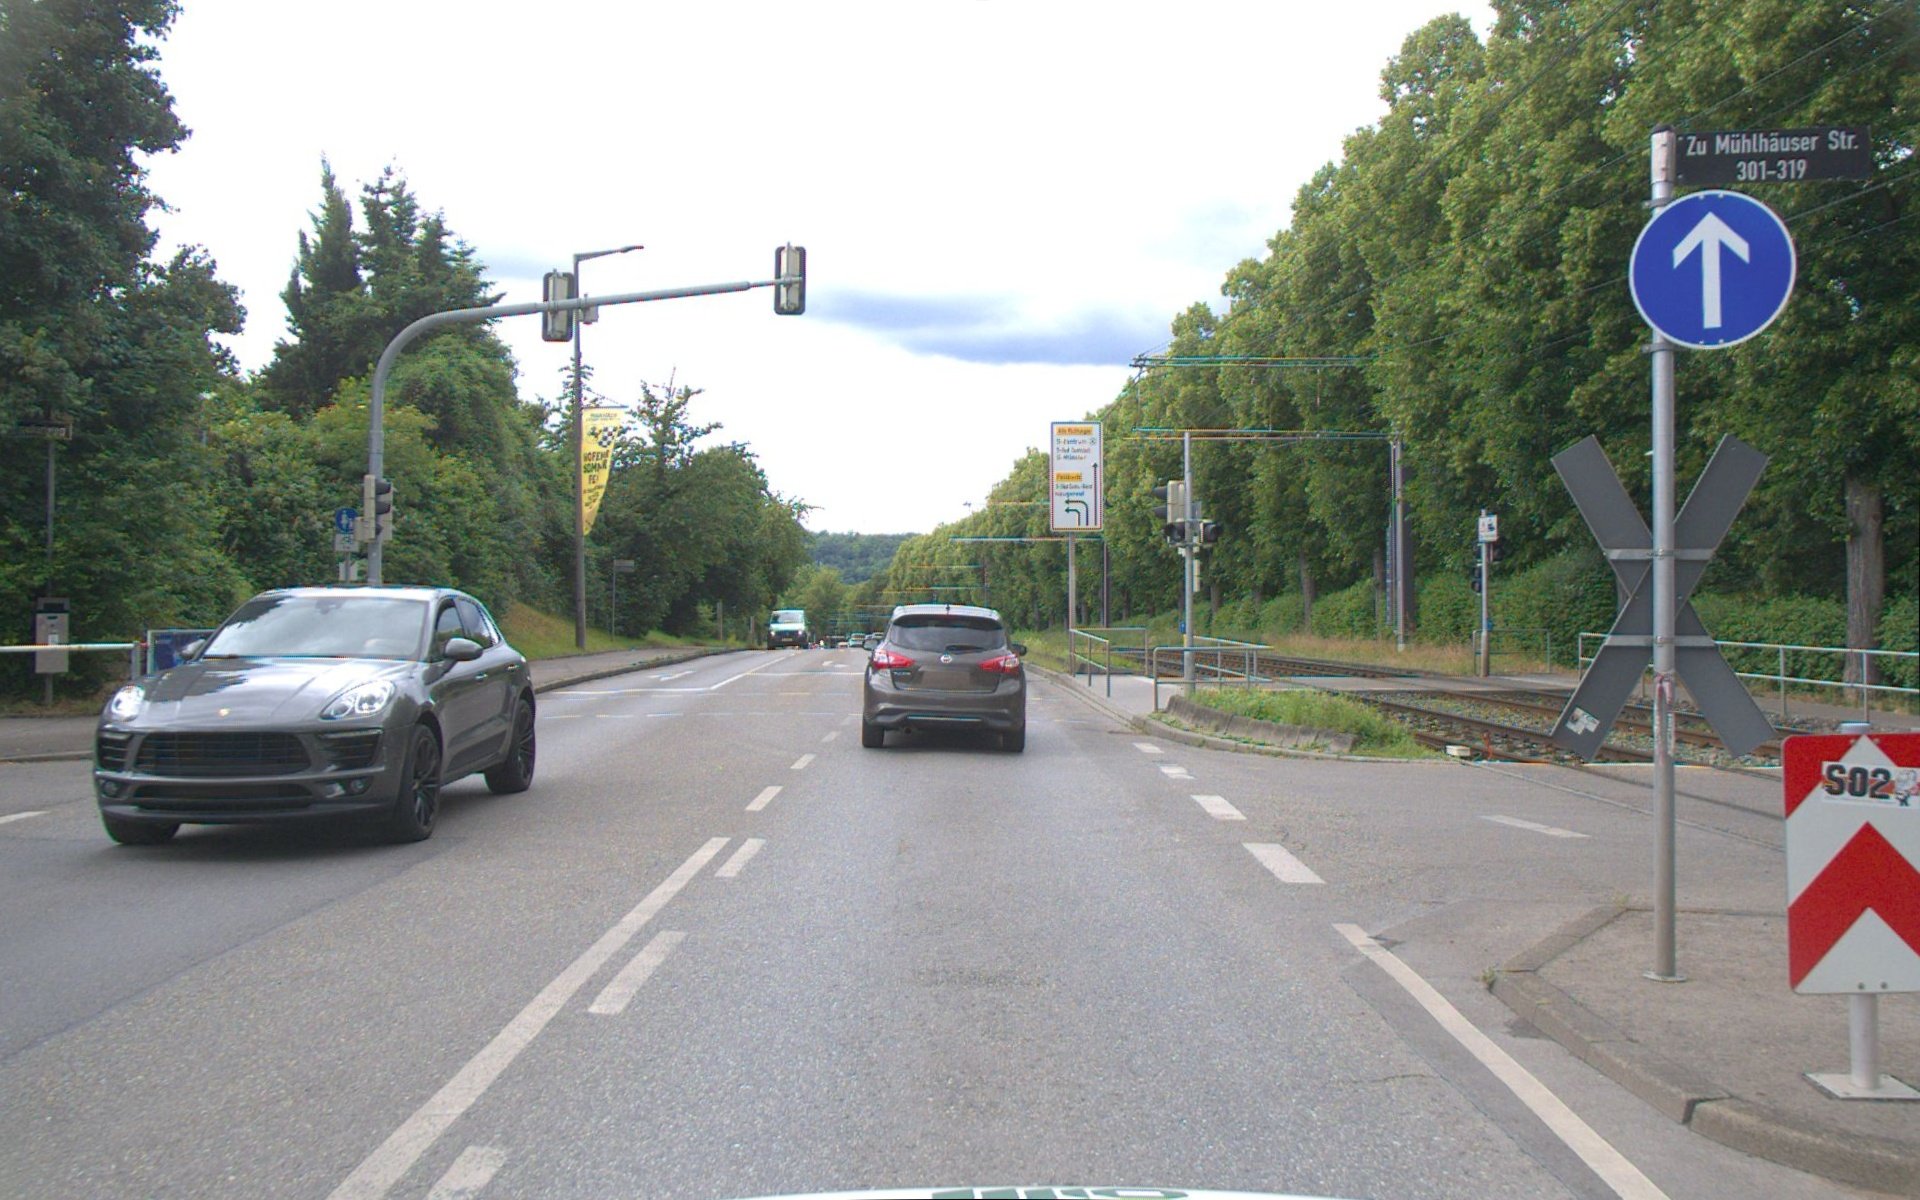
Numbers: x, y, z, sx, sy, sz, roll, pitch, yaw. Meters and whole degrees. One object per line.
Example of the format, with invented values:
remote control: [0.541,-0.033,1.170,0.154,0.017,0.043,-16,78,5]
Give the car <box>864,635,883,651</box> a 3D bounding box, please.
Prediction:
car: [-7.988,3.948,153.215,1.707,1.333,3.998,2,0,-3]

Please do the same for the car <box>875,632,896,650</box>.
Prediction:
car: [-6.150,3.393,136.498,1.707,1.333,3.998,2,0,-3]

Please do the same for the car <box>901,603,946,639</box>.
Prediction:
car: [-1.445,0.817,66.204,1.706,1.333,3.999,2,0,-1]

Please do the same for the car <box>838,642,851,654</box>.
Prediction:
car: [-15.716,6.522,225.355,1.707,1.333,3.998,2,0,-3]

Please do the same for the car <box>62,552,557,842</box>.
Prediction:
car: [-4.244,0.592,11.668,1.863,1.601,4.479,2,-1,-3]

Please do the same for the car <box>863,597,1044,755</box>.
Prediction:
car: [-0.093,0.801,18.977,1.798,1.545,4.481,1,-1,-1]

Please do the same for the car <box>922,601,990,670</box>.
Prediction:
car: [-0.105,0.785,38.745,1.507,1.504,3.763,0,0,-1]

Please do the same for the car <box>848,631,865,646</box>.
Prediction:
car: [-10.858,4.036,173.759,1.707,1.333,3.998,2,0,-3]

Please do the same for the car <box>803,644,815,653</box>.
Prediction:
car: [-23.853,7.631,260.783,1.707,1.333,3.998,2,0,-3]

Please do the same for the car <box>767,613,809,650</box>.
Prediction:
car: [-8.150,1.485,78.559,1.749,1.725,3.998,0,-1,-2]

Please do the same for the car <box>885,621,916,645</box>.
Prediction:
car: [-3.680,2.003,101.971,1.707,1.333,3.997,2,0,-4]
